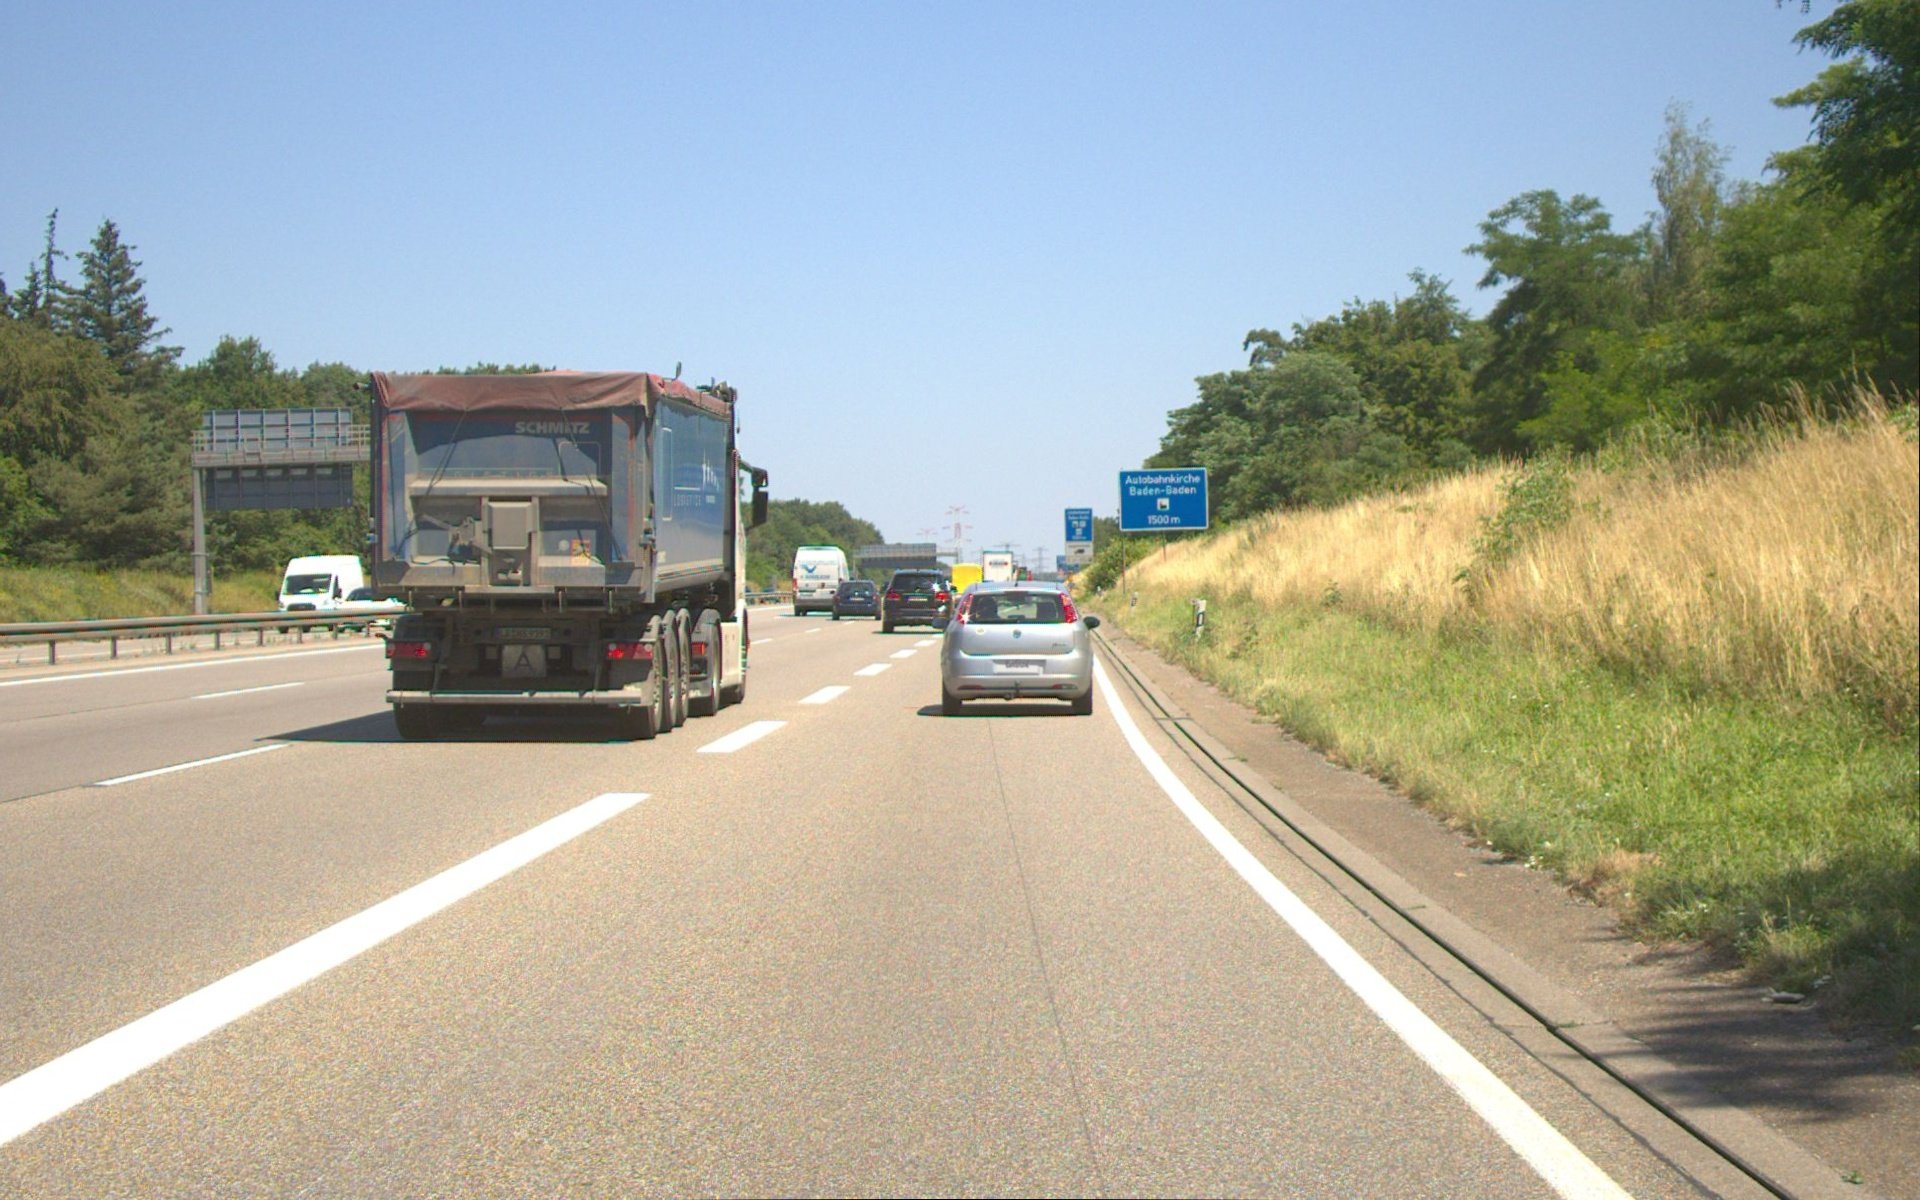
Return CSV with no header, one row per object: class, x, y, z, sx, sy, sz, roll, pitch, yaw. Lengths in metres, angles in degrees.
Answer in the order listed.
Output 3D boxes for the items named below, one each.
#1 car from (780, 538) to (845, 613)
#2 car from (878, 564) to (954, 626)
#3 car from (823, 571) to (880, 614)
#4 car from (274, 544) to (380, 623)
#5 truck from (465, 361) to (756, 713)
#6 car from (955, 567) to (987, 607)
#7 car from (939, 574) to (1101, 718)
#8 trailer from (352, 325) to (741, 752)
car,-5.944,-1.004,139.516,2.260,2.940,6.114,1,1,1
car,-1.201,-0.144,94.843,1.832,1.666,4.000,1,0,3
car,-3.903,-0.274,124.371,1.894,1.464,4.261,1,1,0
car,-22.935,-0.629,124.828,2.343,2.701,6.873,-2,1,1
truck,-3.913,-0.721,39.718,2.684,3.746,5.944,0,1,1
car,0.579,-0.696,179.651,1.611,2.007,4.000,1,1,1
car,0.633,0.485,38.820,1.719,1.486,3.737,0,1,-1
trailer,-3.931,-0.618,34.818,2.737,3.746,9.109,0,1,1
